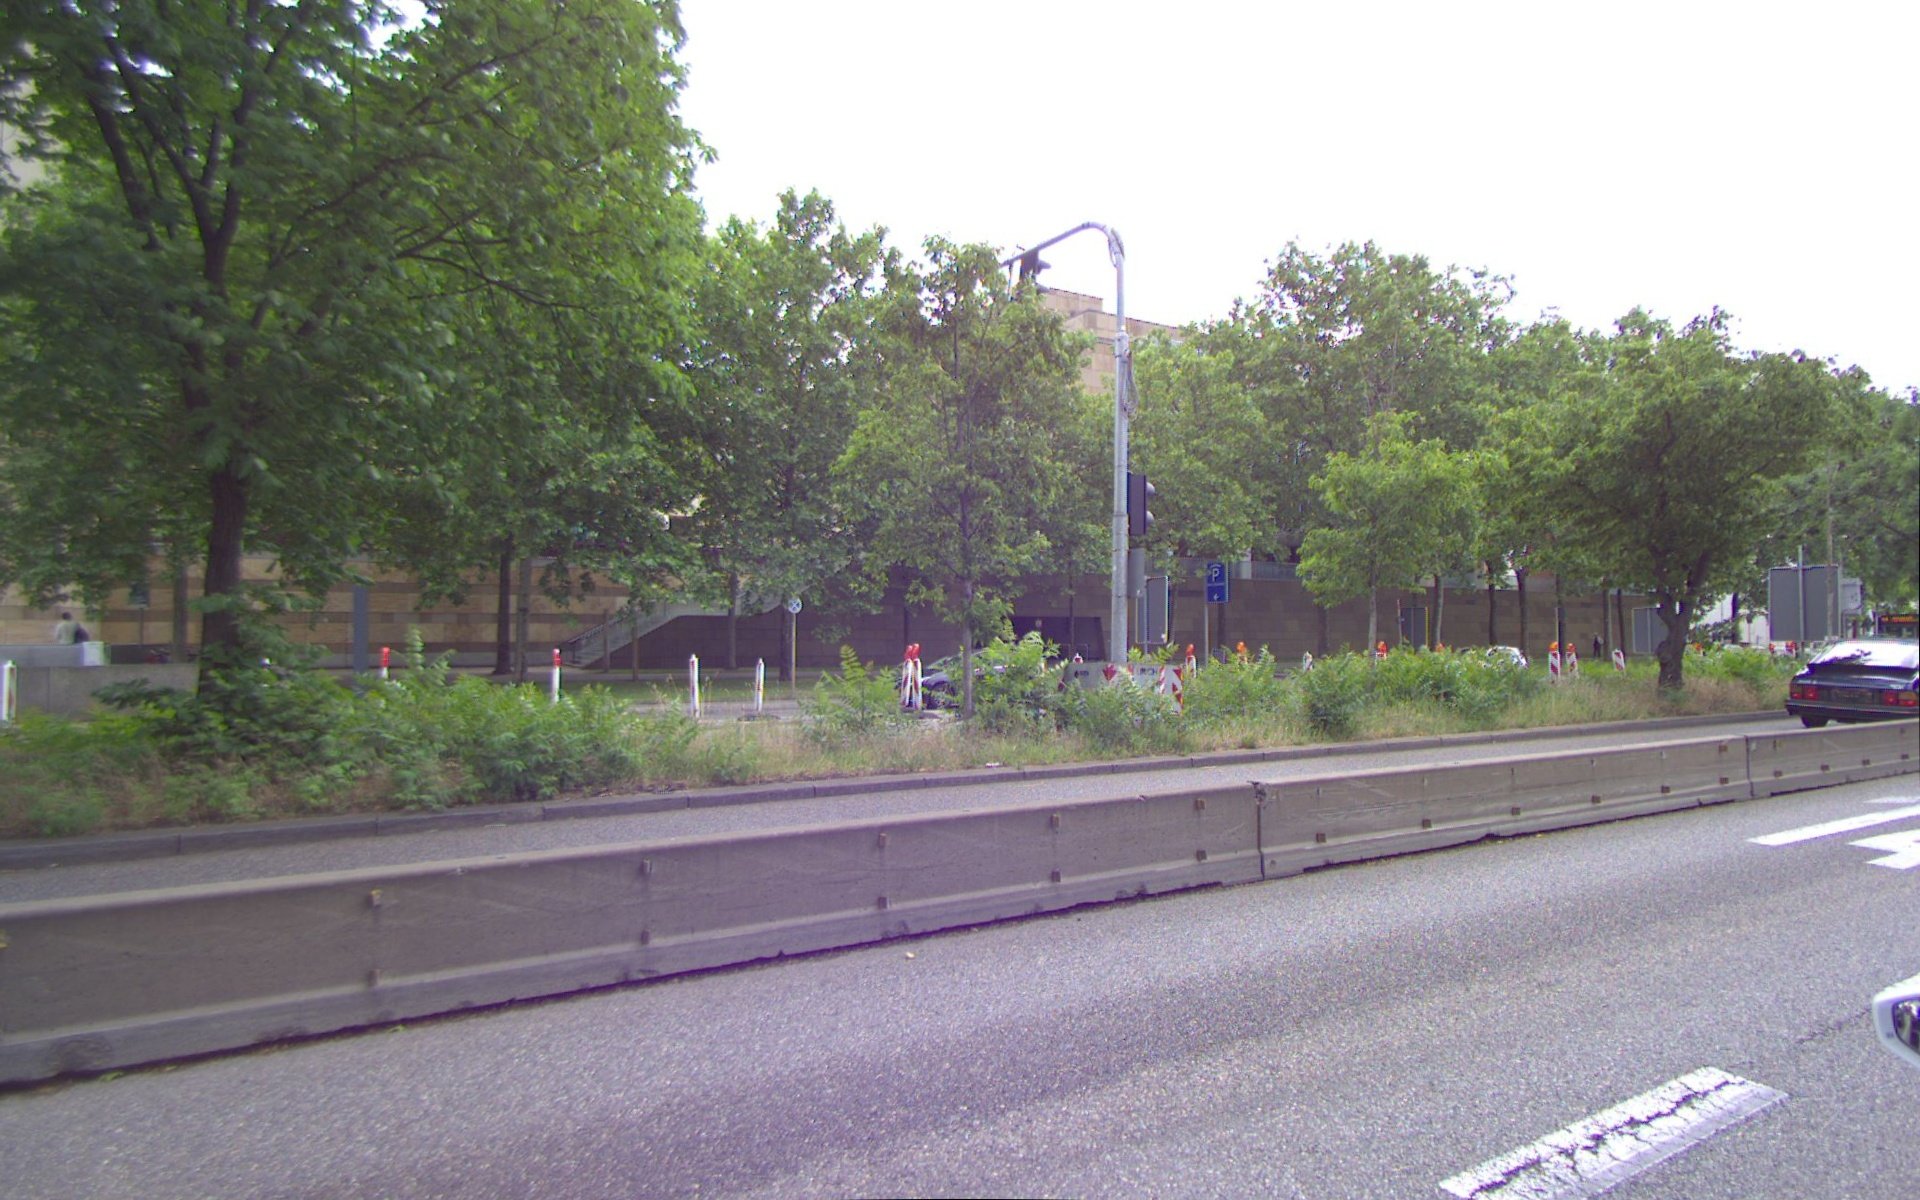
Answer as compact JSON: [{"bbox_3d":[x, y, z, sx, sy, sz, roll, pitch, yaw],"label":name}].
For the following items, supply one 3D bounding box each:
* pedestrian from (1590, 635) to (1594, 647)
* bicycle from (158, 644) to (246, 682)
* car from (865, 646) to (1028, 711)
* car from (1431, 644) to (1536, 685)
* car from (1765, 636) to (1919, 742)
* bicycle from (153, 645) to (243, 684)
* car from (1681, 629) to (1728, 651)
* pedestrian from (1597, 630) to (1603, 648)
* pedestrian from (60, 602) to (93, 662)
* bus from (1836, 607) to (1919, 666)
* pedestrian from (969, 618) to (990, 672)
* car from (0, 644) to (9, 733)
[{"bbox_3d":[39.565,2.556,62.876,0.137,0.754,0.164,2,0,-39],"label":"pedestrian"},{"bbox_3d":[-20.844,1.735,27.660,1.820,1.004,0.564,2,0,-25],"label":"bicycle"},{"bbox_3d":[-0.316,1.917,25.150,3.755,1.461,1.721,1,-2,-31],"label":"car"},{"bbox_3d":[19.146,2.330,36.716,3.759,1.401,1.652,1,-2,-30],"label":"car"},{"bbox_3d":[14.088,1.236,15.067,4.490,1.385,1.670,1,-2,-30],"label":"car"},{"bbox_3d":[-20.475,1.744,27.023,1.820,1.008,0.487,2,0,-25],"label":"bicycle"},{"bbox_3d":[66.558,3.588,89.805,3.953,1.940,1.984,1,-2,-30],"label":"car"},{"bbox_3d":[39.840,2.447,62.535,0.212,1.093,0.257,2,0,43],"label":"pedestrian"},{"bbox_3d":[-23.786,0.855,27.056,0.616,1.590,0.434,1,-1,-37],"label":"pedestrian"},{"bbox_3d":[57.753,2.030,59.632,14.088,3.248,3.655,0,-1,-27],"label":"bus"},{"bbox_3d":[0.734,1.705,38.363,0.657,2.040,0.449,1,-1,-30],"label":"pedestrian"},{"bbox_3d":[-17.443,1.438,15.282,3.953,1.477,1.840,1,-2,-30],"label":"car"}]
